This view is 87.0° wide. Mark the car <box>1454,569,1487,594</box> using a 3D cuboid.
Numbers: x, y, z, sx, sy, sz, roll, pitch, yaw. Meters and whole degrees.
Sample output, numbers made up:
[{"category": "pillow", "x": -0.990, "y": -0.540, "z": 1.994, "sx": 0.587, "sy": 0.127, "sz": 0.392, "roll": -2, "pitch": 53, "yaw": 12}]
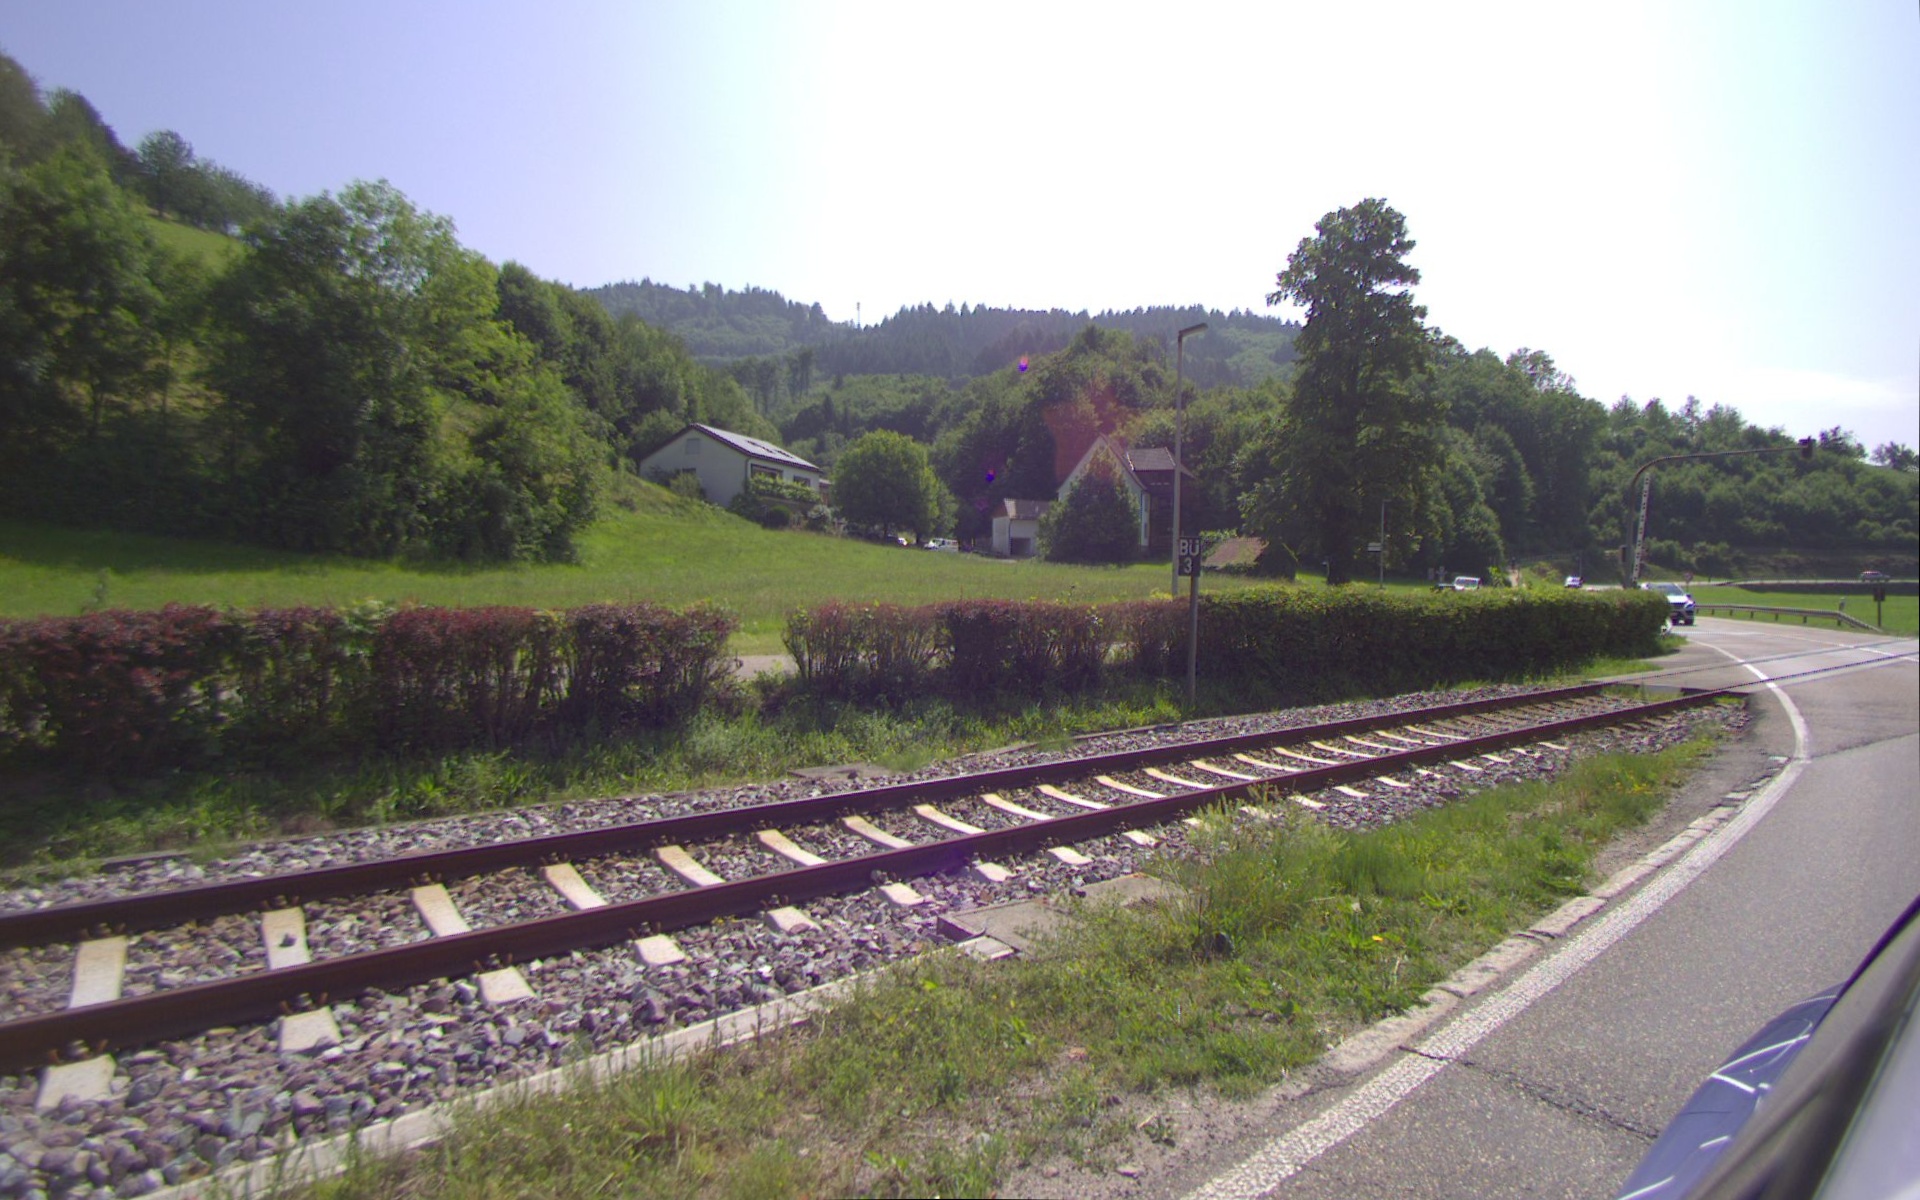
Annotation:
[{"category": "car", "x": 40.775, "y": -1.527, "z": 80.761, "sx": 1.990, "sy": 1.871, "sz": 4.816, "roll": 2, "pitch": 2, "yaw": 31}]

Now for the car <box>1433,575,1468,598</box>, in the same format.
[{"category": "car", "x": 35.764, "y": -0.994, "z": 73.869, "sx": 1.656, "sy": 1.474, "sz": 3.697, "roll": 3, "pitch": 4, "yaw": 17}]

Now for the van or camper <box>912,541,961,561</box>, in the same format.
[{"category": "van or camper", "x": -2.472, "y": -5.200, "z": 108.323, "sx": 2.795, "sy": 1.973, "sz": 5.378, "roll": 3, "pitch": 2, "yaw": 30}]

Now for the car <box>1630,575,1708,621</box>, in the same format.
[{"category": "car", "x": 30.967, "y": -0.125, "z": 44.349, "sx": 2.099, "sy": 1.836, "sz": 4.414, "roll": 2, "pitch": 2, "yaw": 27}]

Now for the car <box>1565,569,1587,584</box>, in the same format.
[{"category": "car", "x": 76.733, "y": -2.897, "z": 126.027, "sx": 1.989, "sy": 1.806, "sz": 3.947, "roll": 2, "pitch": 2, "yaw": 37}]
